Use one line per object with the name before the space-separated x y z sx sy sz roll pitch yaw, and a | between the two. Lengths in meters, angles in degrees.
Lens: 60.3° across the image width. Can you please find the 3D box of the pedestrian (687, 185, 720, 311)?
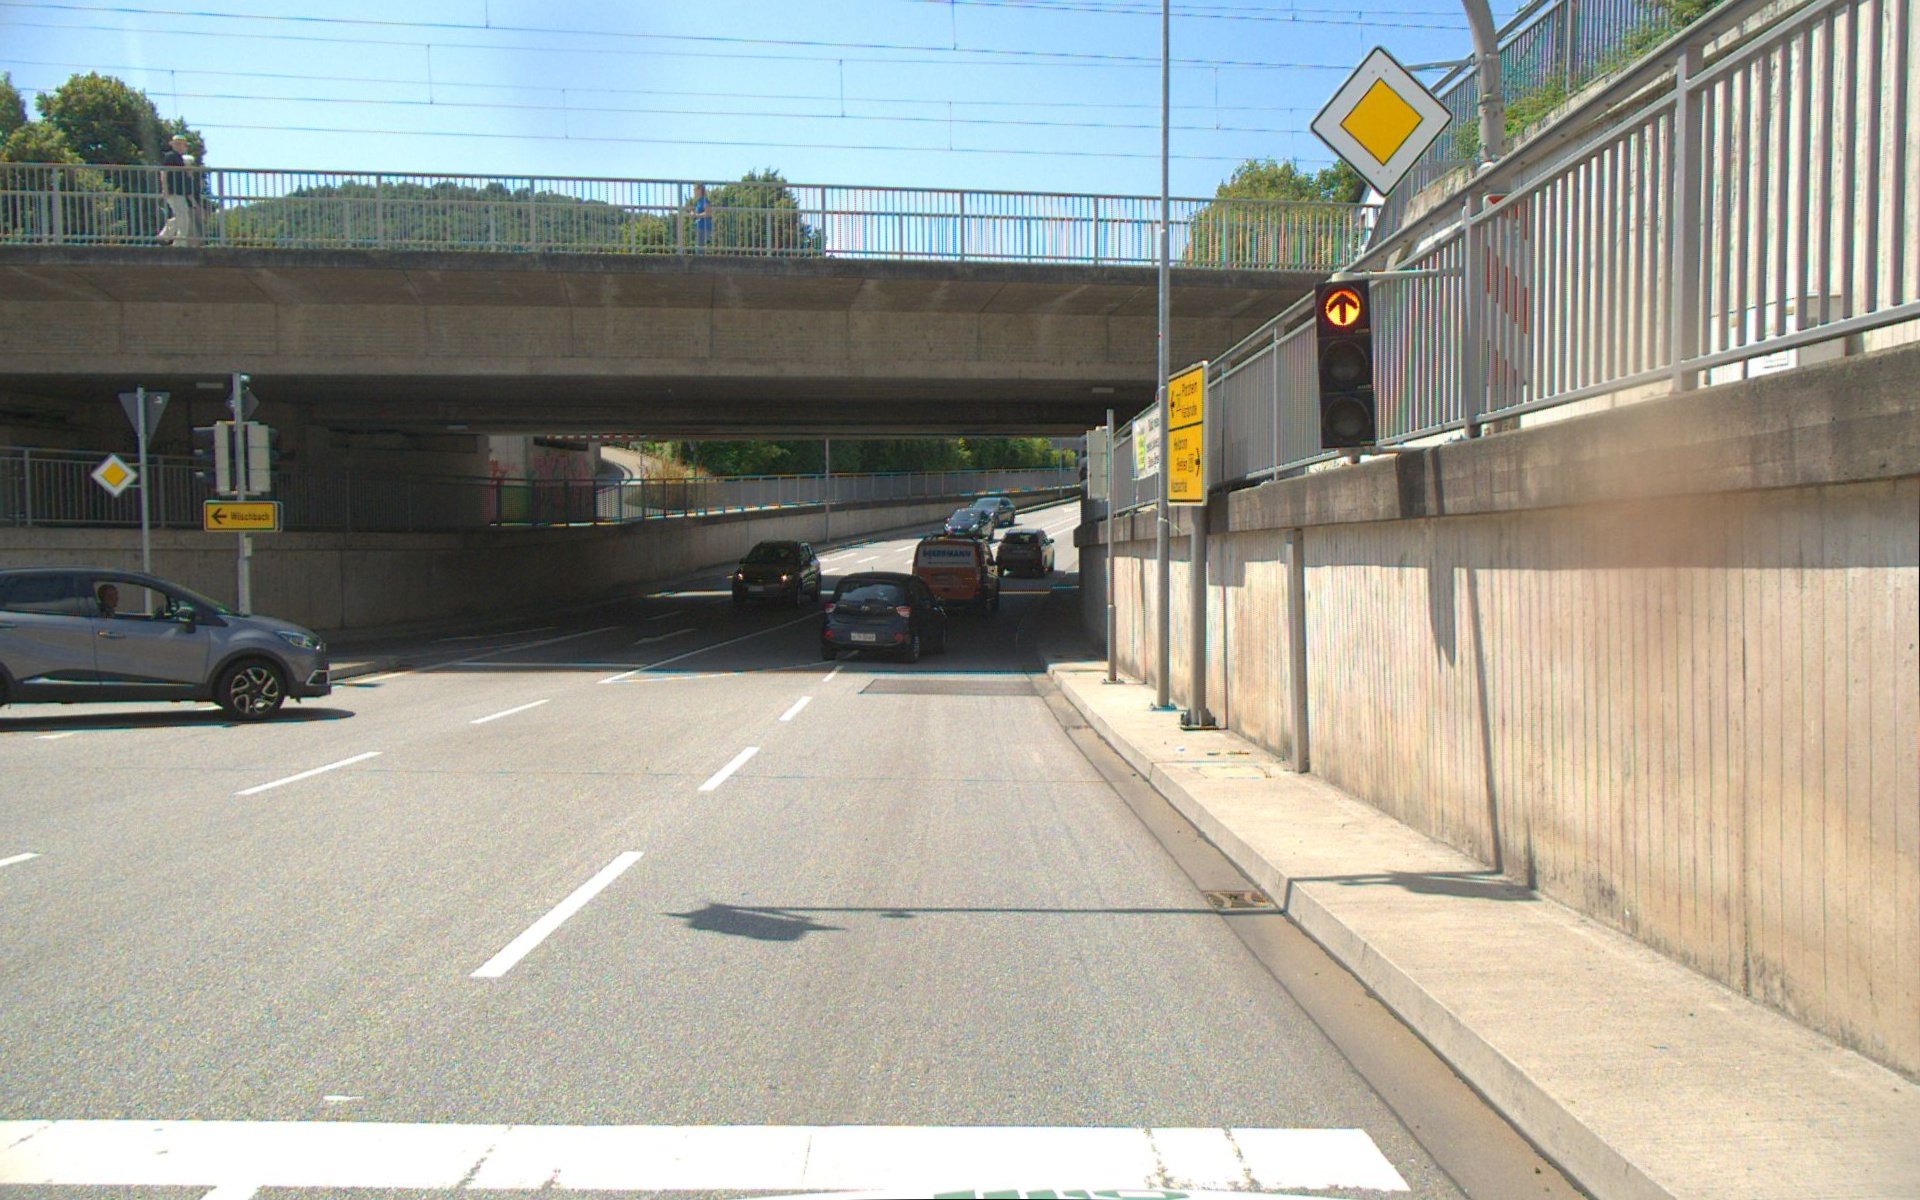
pedestrian | -4.544 -6.242 29.353 0.529 2.117 0.534 -1 0 -8

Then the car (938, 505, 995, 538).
car | 0.311 -3.544 75.131 1.744 1.461 4.004 1 3 13

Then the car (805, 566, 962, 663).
car | -1.267 0.201 29.346 1.951 1.534 4.004 0 2 10

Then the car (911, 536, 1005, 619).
car | 0.015 -0.643 42.751 1.833 1.965 4.724 0 3 7

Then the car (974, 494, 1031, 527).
car | 2.205 -4.585 85.053 1.951 1.616 4.003 1 3 17

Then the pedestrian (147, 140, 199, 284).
pedestrian | -12.286 -6.049 25.829 0.566 2.117 0.534 -1 0 -11

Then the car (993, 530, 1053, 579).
car | 2.278 -1.652 58.997 1.766 1.646 4.004 1 2 8

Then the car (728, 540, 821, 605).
car | -4.986 -0.795 44.955 1.952 1.655 4.002 0 3 2

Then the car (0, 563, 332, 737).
car | -8.798 0.454 17.359 3.940 1.616 1.983 -1 3 -27
